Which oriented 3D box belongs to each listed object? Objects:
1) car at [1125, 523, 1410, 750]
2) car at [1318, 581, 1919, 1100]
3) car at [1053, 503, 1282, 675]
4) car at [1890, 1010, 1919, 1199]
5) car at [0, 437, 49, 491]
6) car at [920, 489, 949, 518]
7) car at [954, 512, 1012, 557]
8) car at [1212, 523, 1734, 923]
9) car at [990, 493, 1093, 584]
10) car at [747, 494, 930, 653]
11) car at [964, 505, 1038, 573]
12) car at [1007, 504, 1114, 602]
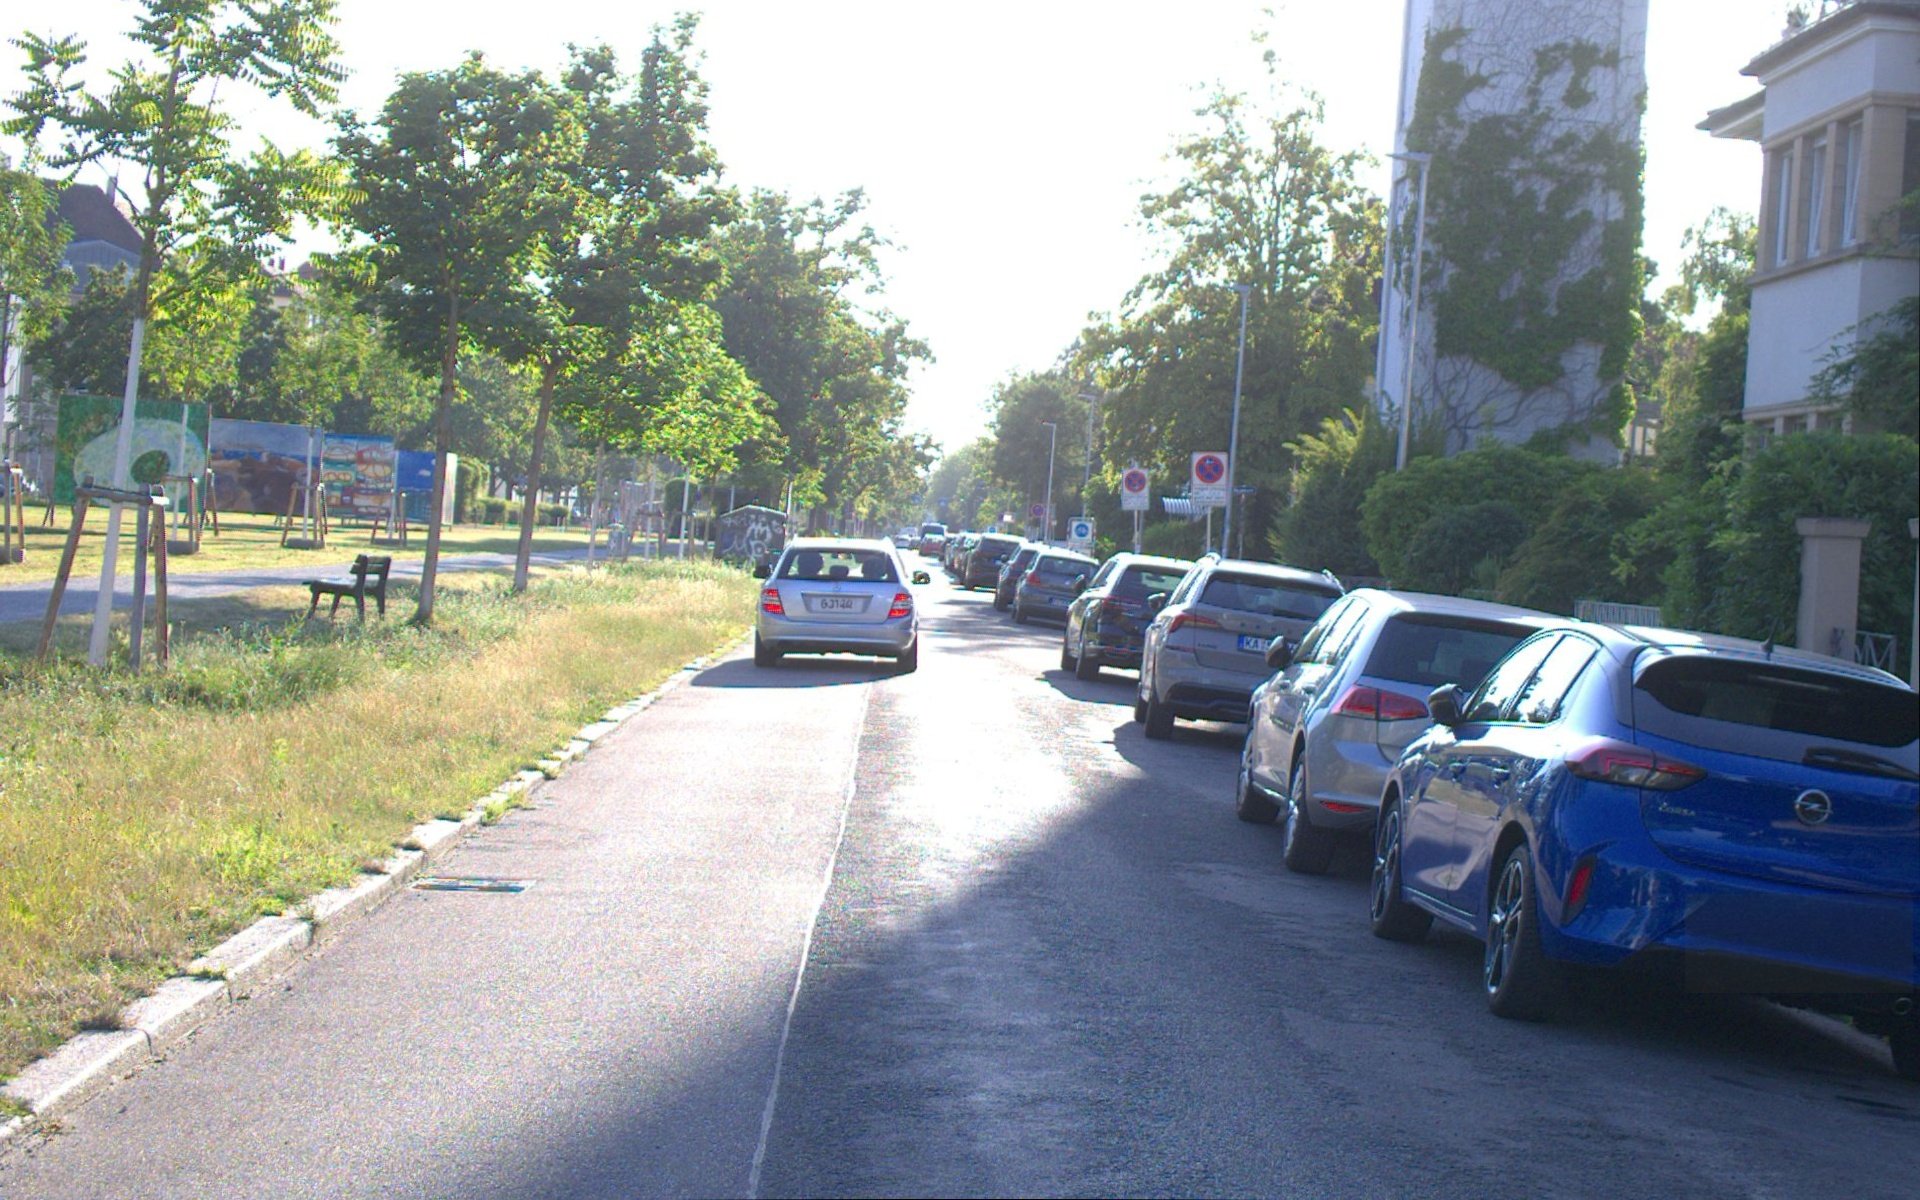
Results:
[{"bbox_3d":[2.502,0.268,29.001,1.883,1.531,4.462,7,0,1],"label":"car"},{"bbox_3d":[2.696,0.809,13.365,1.763,1.430,4.304,10,0,-3],"label":"car"},{"bbox_3d":[2.320,-0.150,39.777,1.993,1.592,4.887,8,1,-2],"label":"car"},{"bbox_3d":[2.884,0.843,4.480,1.801,1.642,4.585,9,0,-2],"label":"car"},{"bbox_3d":[-36.375,-5.190,131.551,1.889,1.910,4.328,1,1,-1],"label":"car"},{"bbox_3d":[-1.893,-7.180,257.086,1.988,2.016,4.000,4,1,0],"label":"car"},{"bbox_3d":[0.868,-2.454,128.426,1.994,1.457,4.562,6,1,0],"label":"car"},{"bbox_3d":[2.624,0.541,18.753,1.911,1.554,4.567,8,2,-1],"label":"car"},{"bbox_3d":[1.678,-1.329,72.275,1.822,1.555,4.622,10,2,0],"label":"car"},{"bbox_3d":[-1.293,-0.336,38.081,1.823,1.561,4.000,3,2,0],"label":"car"},{"bbox_3d":[1.174,-1.783,100.692,1.832,1.725,5.032,7,1,-1],"label":"car"},{"bbox_3d":[1.873,-0.926,65.340,1.687,1.522,4.175,8,2,-1],"label":"car"}]
